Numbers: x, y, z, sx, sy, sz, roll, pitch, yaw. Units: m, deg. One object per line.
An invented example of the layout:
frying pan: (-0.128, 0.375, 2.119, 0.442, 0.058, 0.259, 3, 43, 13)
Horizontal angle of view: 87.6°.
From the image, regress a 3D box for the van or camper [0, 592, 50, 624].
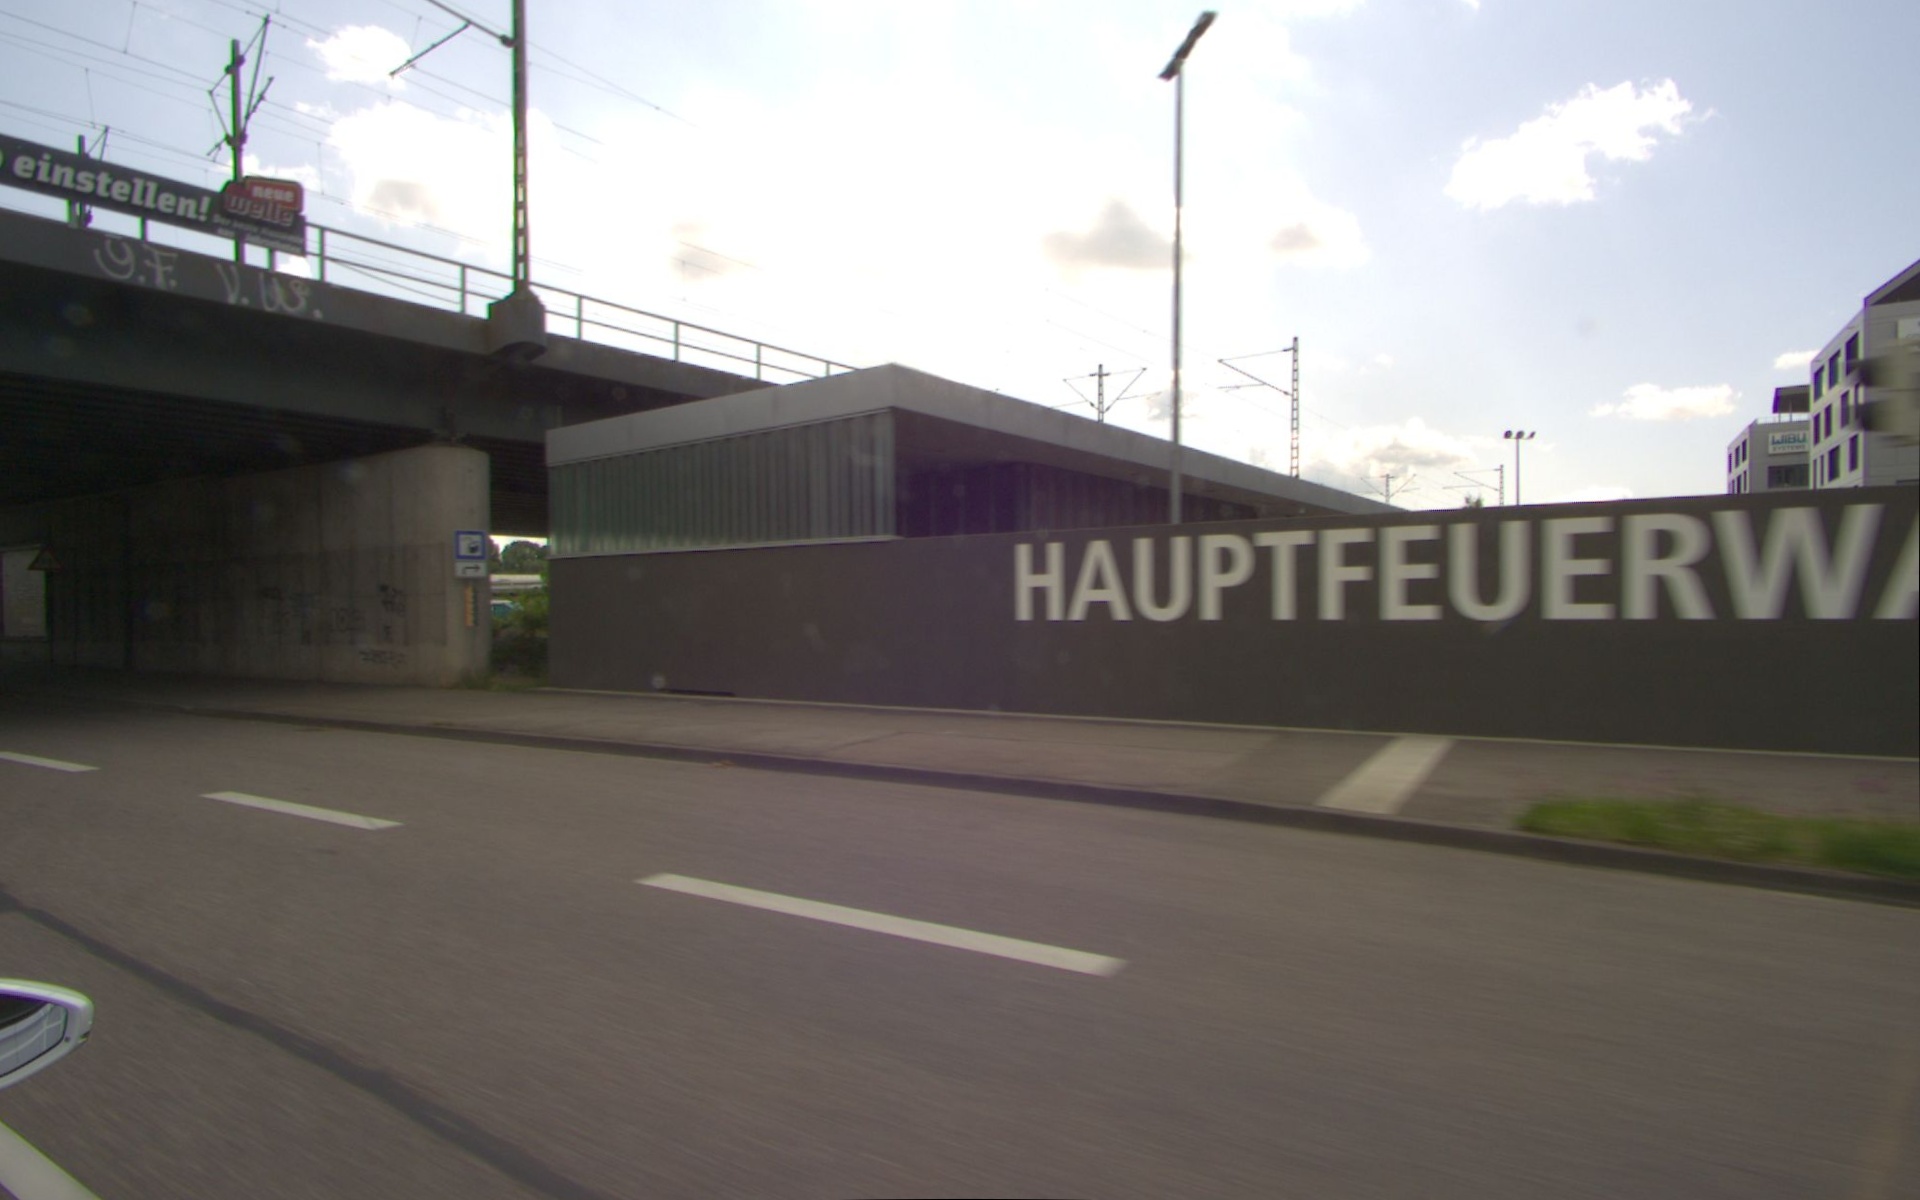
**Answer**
van or camper: (-69.026, 0.569, 71.889, 2.085, 2.200, 6.250, 0, -2, -5)
